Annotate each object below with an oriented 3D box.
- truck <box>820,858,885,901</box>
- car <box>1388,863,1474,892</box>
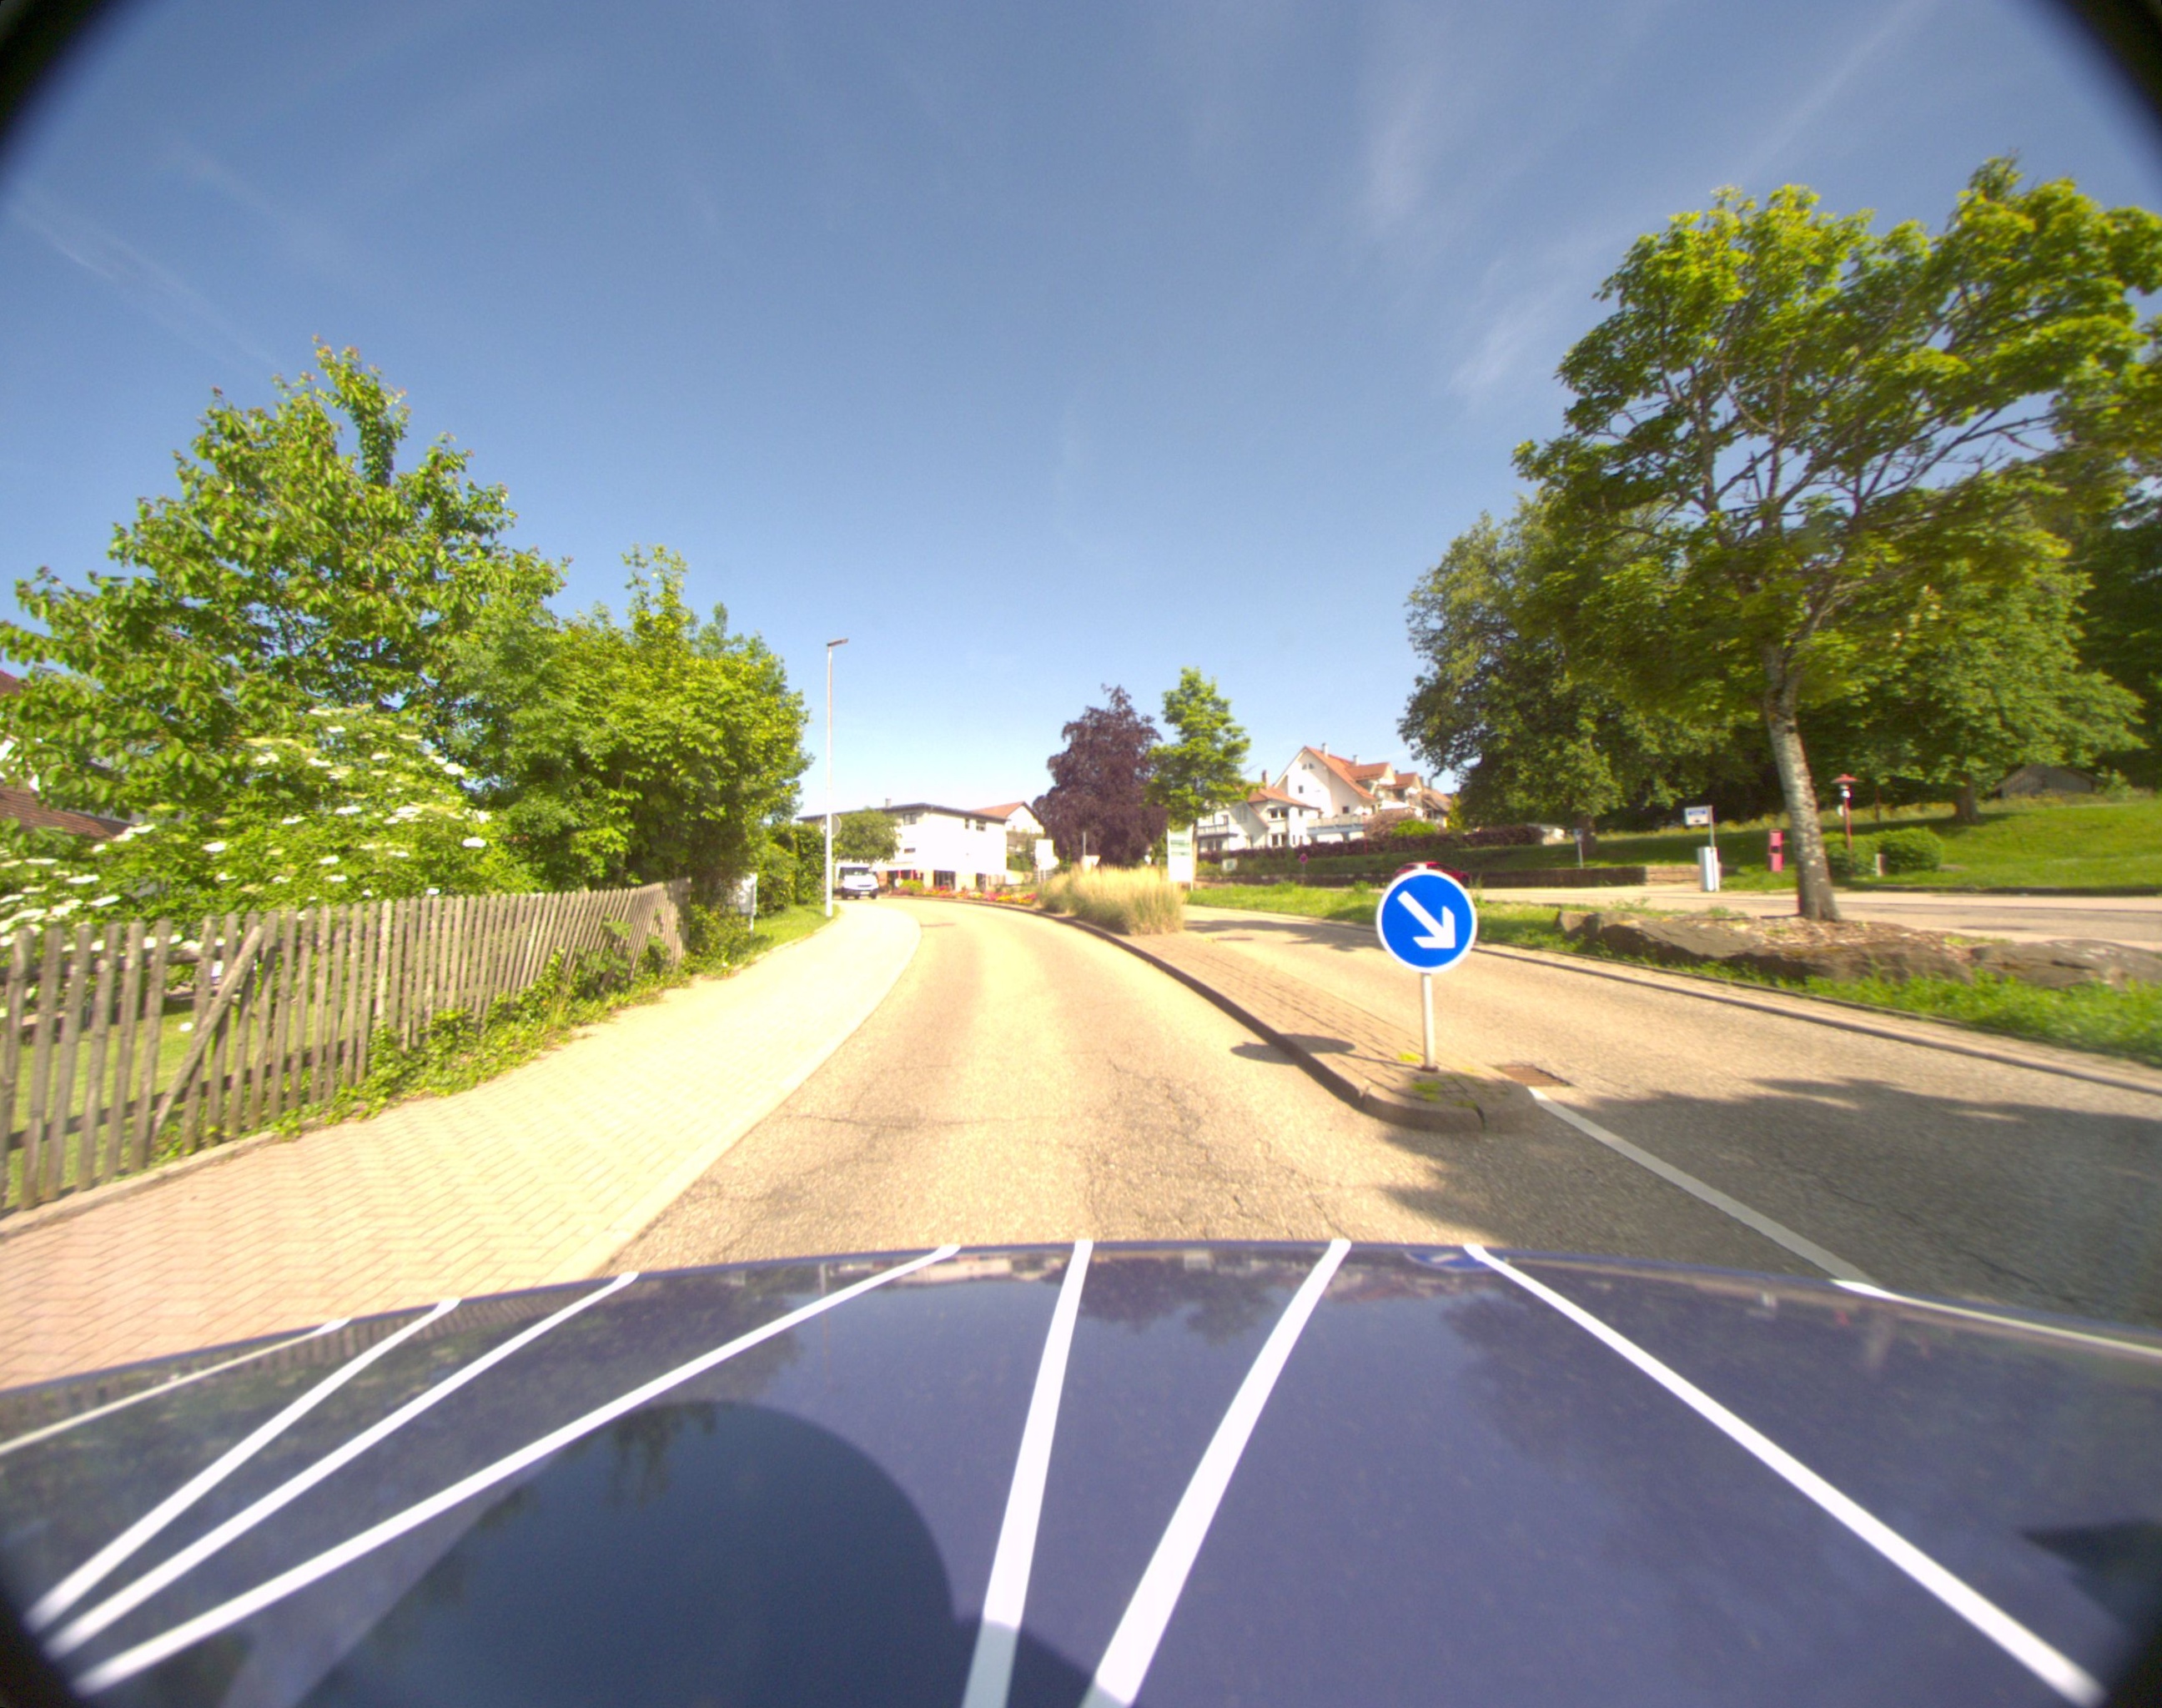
[{"bbox_3d":[-14.540,1.685,47.995,2.003,2.327,6.481,-4,-2,-33],"label":"truck"},{"bbox_3d":[18.765,1.247,40.706,4.243,1.390,1.821,-1,-2,-24],"label":"car"}]
